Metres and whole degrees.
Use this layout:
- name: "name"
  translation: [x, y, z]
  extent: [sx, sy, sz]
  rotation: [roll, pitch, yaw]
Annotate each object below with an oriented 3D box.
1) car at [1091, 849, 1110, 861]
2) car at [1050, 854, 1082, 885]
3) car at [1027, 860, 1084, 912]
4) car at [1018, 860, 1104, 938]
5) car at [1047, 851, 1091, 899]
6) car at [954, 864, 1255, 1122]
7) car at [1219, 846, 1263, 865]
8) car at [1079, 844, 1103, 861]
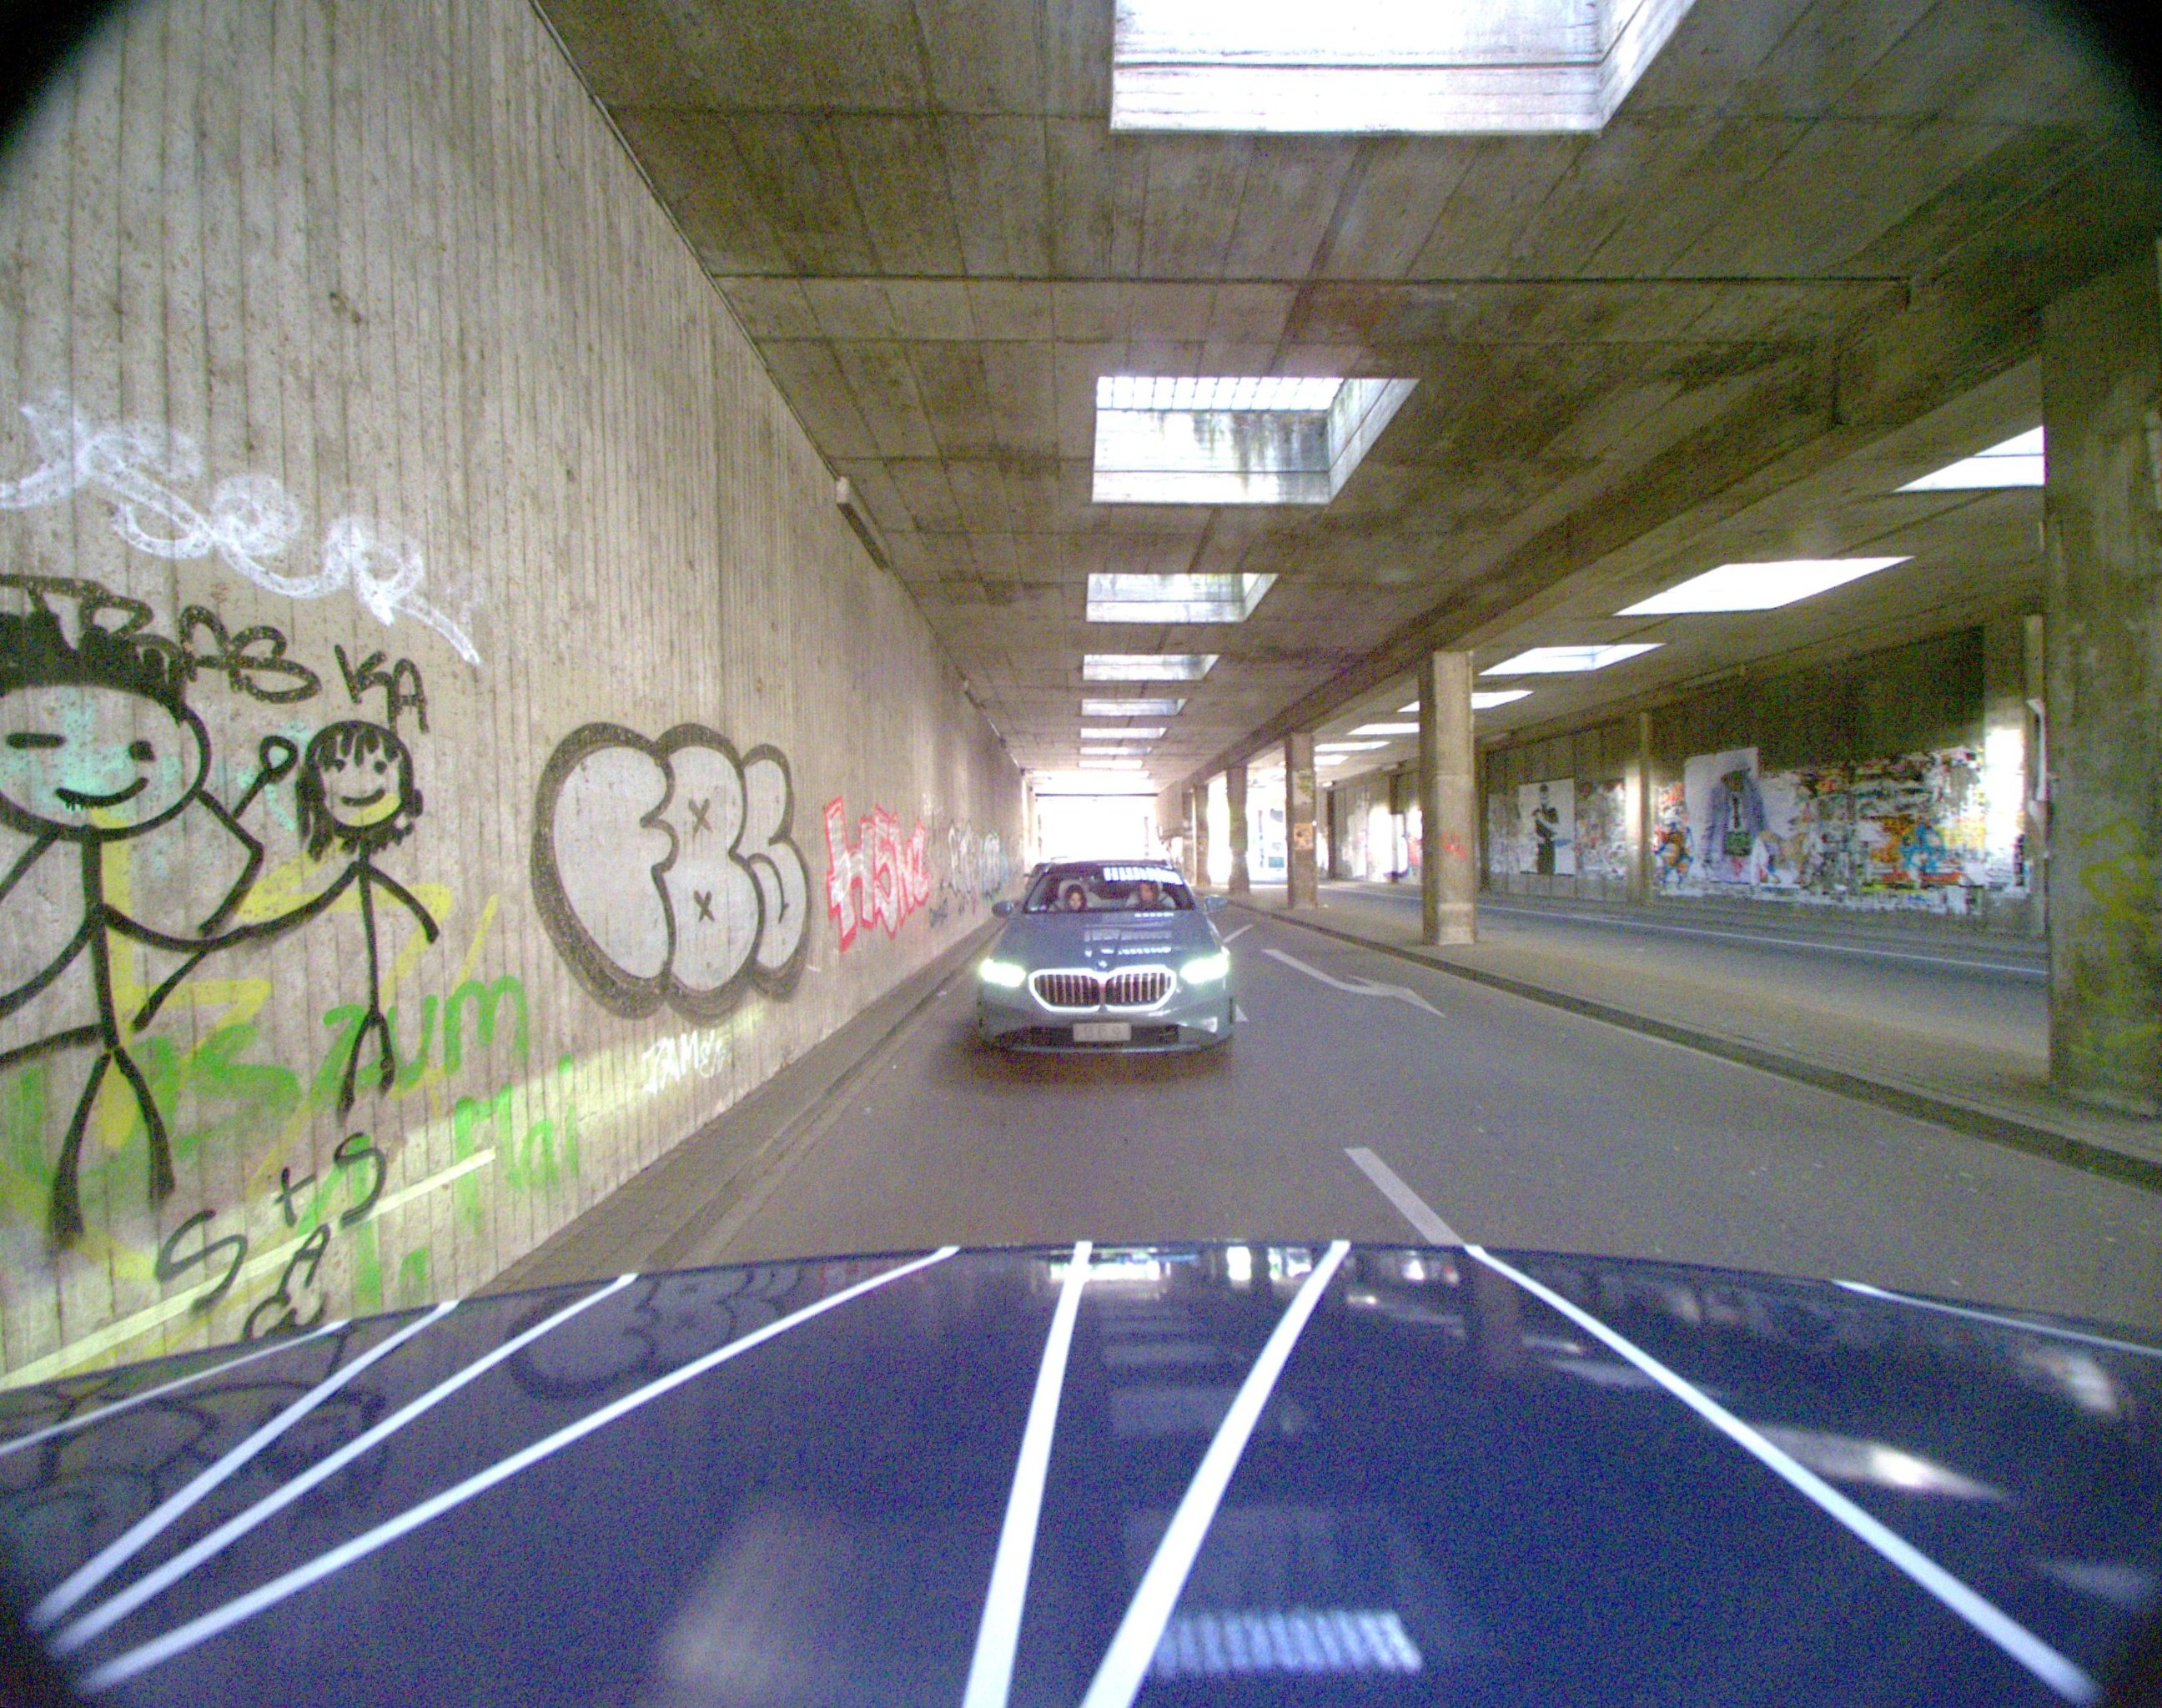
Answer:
- name: "car"
  translation: [2.497, 0.136, 97.999]
  extent: [1.741, 1.519, 3.786]
  rotation: [-2, 0, -9]
- name: "car"
  translation: [-0.794, 0.808, 41.279]
  extent: [1.592, 1.562, 3.694]
  rotation: [-2, 0, 0]
- name: "car"
  translation: [-0.750, 0.952, 23.945]
  extent: [1.592, 1.432, 3.806]
  rotation: [-2, 0, 0]
- name: "car"
  translation: [-0.415, 0.924, 17.319]
  extent: [1.679, 1.516, 3.969]
  rotation: [-2, 0, 0]
- name: "car"
  translation: [-0.451, 0.774, 29.952]
  extent: [1.592, 1.711, 3.694]
  rotation: [-2, 0, 0]
- name: "car"
  translation: [0.137, 0.910, 7.310]
  extent: [1.861, 1.516, 5.042]
  rotation: [-2, 0, 0]
- name: "car"
  translation: [15.418, 0.106, 73.315]
  extent: [3.873, 1.597, 1.728]
  rotation: [-3, 1, 1]
- name: "car"
  translation: [1.301, -0.194, 103.691]
  extent: [2.161, 2.150, 4.785]
  rotation: [-2, 0, -12]
